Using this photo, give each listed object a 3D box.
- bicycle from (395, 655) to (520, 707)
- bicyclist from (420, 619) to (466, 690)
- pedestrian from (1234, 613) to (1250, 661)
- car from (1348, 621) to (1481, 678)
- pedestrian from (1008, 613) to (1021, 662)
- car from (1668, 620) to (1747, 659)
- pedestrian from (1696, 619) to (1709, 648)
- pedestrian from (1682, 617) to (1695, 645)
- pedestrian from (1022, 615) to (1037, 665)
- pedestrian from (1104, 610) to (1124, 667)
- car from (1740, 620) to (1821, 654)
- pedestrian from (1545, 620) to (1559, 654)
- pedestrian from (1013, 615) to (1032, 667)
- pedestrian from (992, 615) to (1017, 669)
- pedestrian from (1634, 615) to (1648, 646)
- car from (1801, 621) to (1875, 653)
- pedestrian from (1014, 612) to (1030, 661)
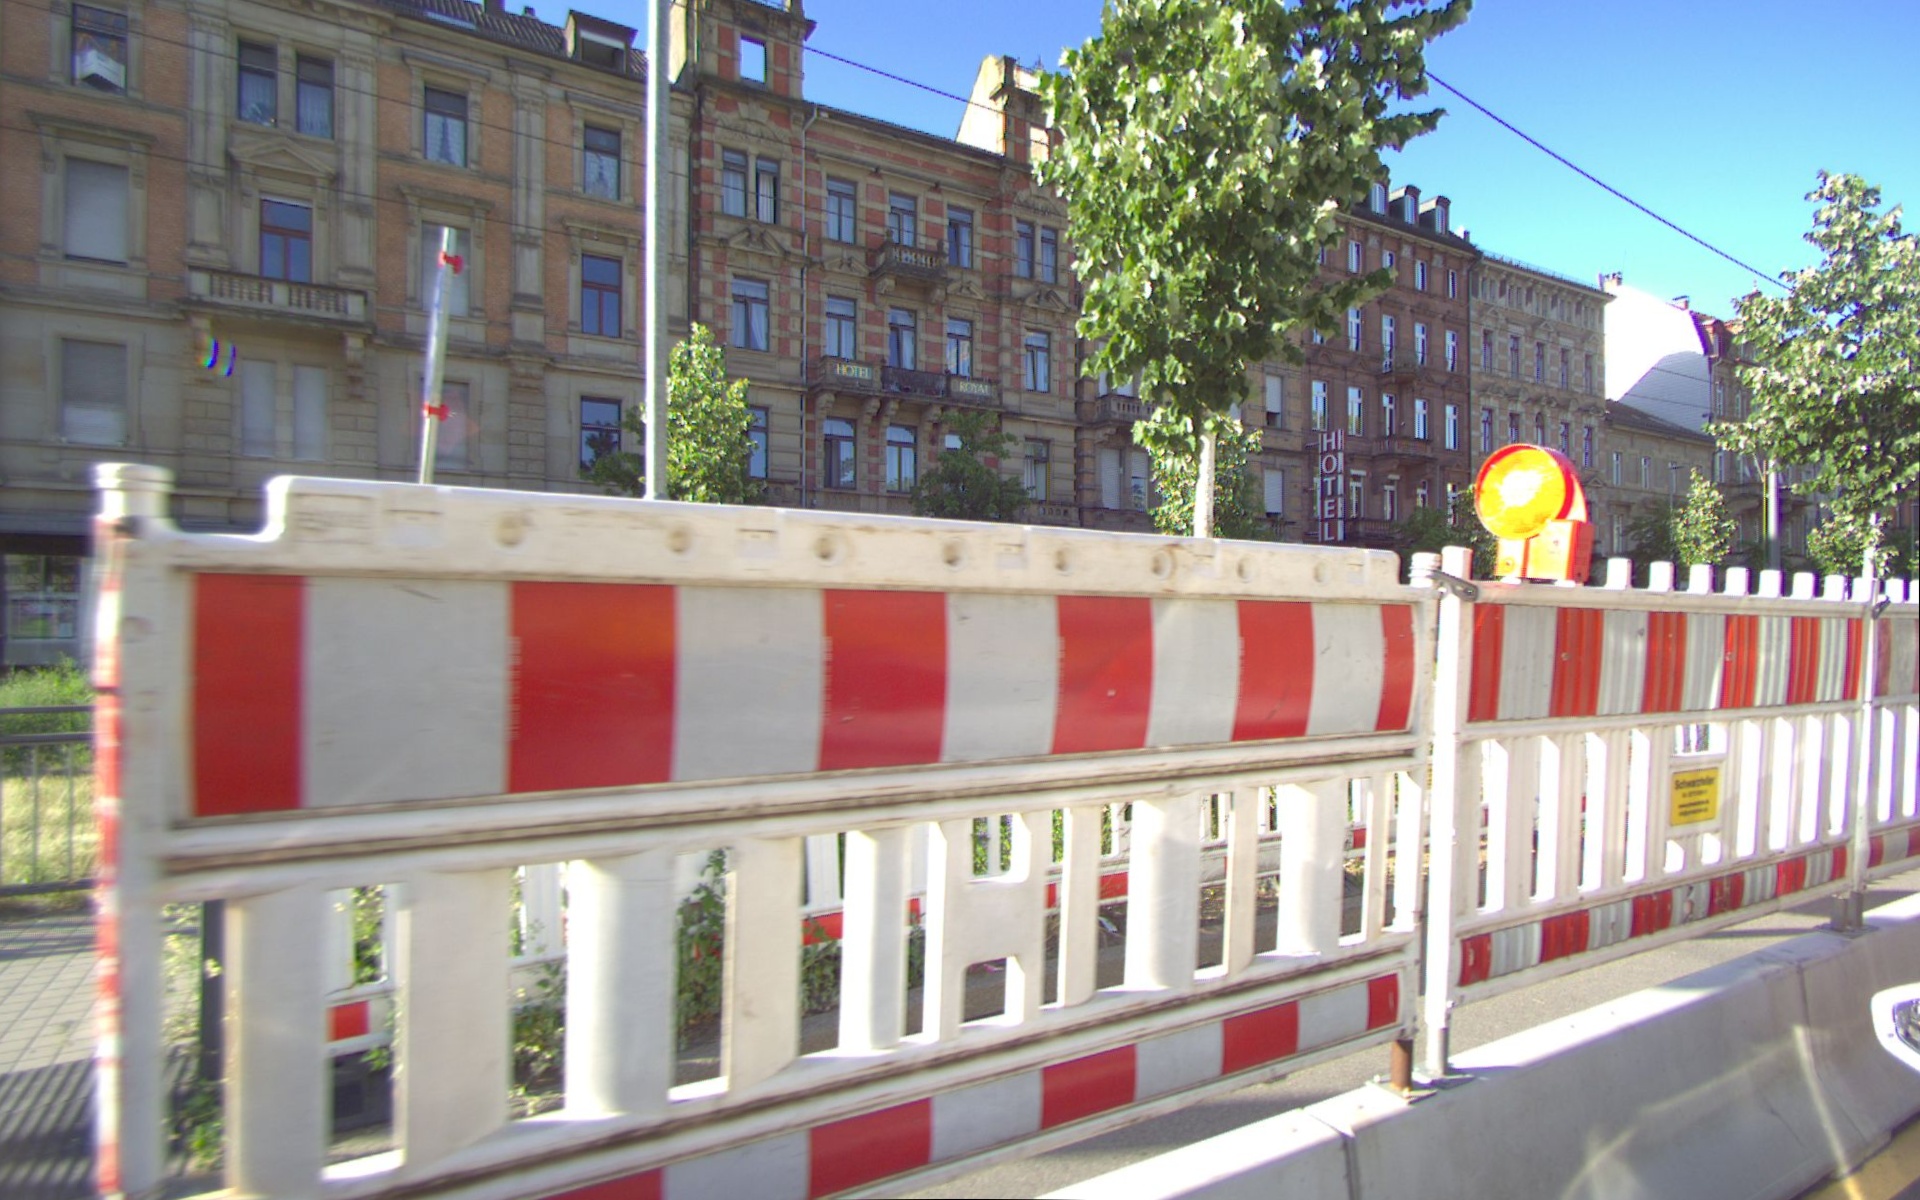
[{"bbox_3d":[-9.169,1.461,18.372,2.006,0.869,0.634,1,-1,-29],"label":"bicycle"},{"bbox_3d":[-9.387,0.984,18.240,0.729,1.256,0.634,1,-1,-29],"label":"bicyclist"},{"bbox_3d":[10.535,1.384,37.522,0.401,1.788,0.365,1,1,-30],"label":"pedestrian"},{"bbox_3d":[12.734,1.336,28.105,3.578,1.502,1.588,1,-1,-29],"label":"car"},{"bbox_3d":[1.797,1.243,33.251,0.383,1.606,0.386,1,1,1],"label":"pedestrian"},{"bbox_3d":[34.104,1.758,45.818,3.764,1.697,1.559,1,-1,-31],"label":"car"},{"bbox_3d":[40.391,1.819,54.641,0.430,1.553,0.403,1,1,-30],"label":"pedestrian"},{"bbox_3d":[40.237,1.706,55.471,0.430,1.555,0.403,1,1,-30],"label":"pedestrian"},{"bbox_3d":[2.296,1.304,33.001,0.361,1.606,0.406,2,1,21],"label":"pedestrian"},{"bbox_3d":[4.973,1.240,32.454,0.401,1.788,0.505,1,1,-30],"label":"pedestrian"},{"bbox_3d":[40.224,1.796,49.237,4.659,1.583,1.559,1,-1,-31],"label":"car"},{"bbox_3d":[28.172,1.749,47.766,0.335,1.606,0.427,1,1,-29],"label":"pedestrian"},{"bbox_3d":[1.977,1.294,31.654,0.421,1.606,0.401,1,1,-30],"label":"pedestrian"},{"bbox_3d":[1.347,1.270,30.416,0.527,1.606,0.484,1,1,-30],"label":"pedestrian"},{"bbox_3d":[35.538,1.584,52.434,0.431,1.606,0.457,1,1,-37],"label":"pedestrian"},{"bbox_3d":[45.857,1.910,52.459,4.660,1.583,1.559,1,-1,-31],"label":"car"},{"bbox_3d":[2.058,1.196,33.233,0.474,1.606,0.482,1,1,8],"label":"pedestrian"}]
